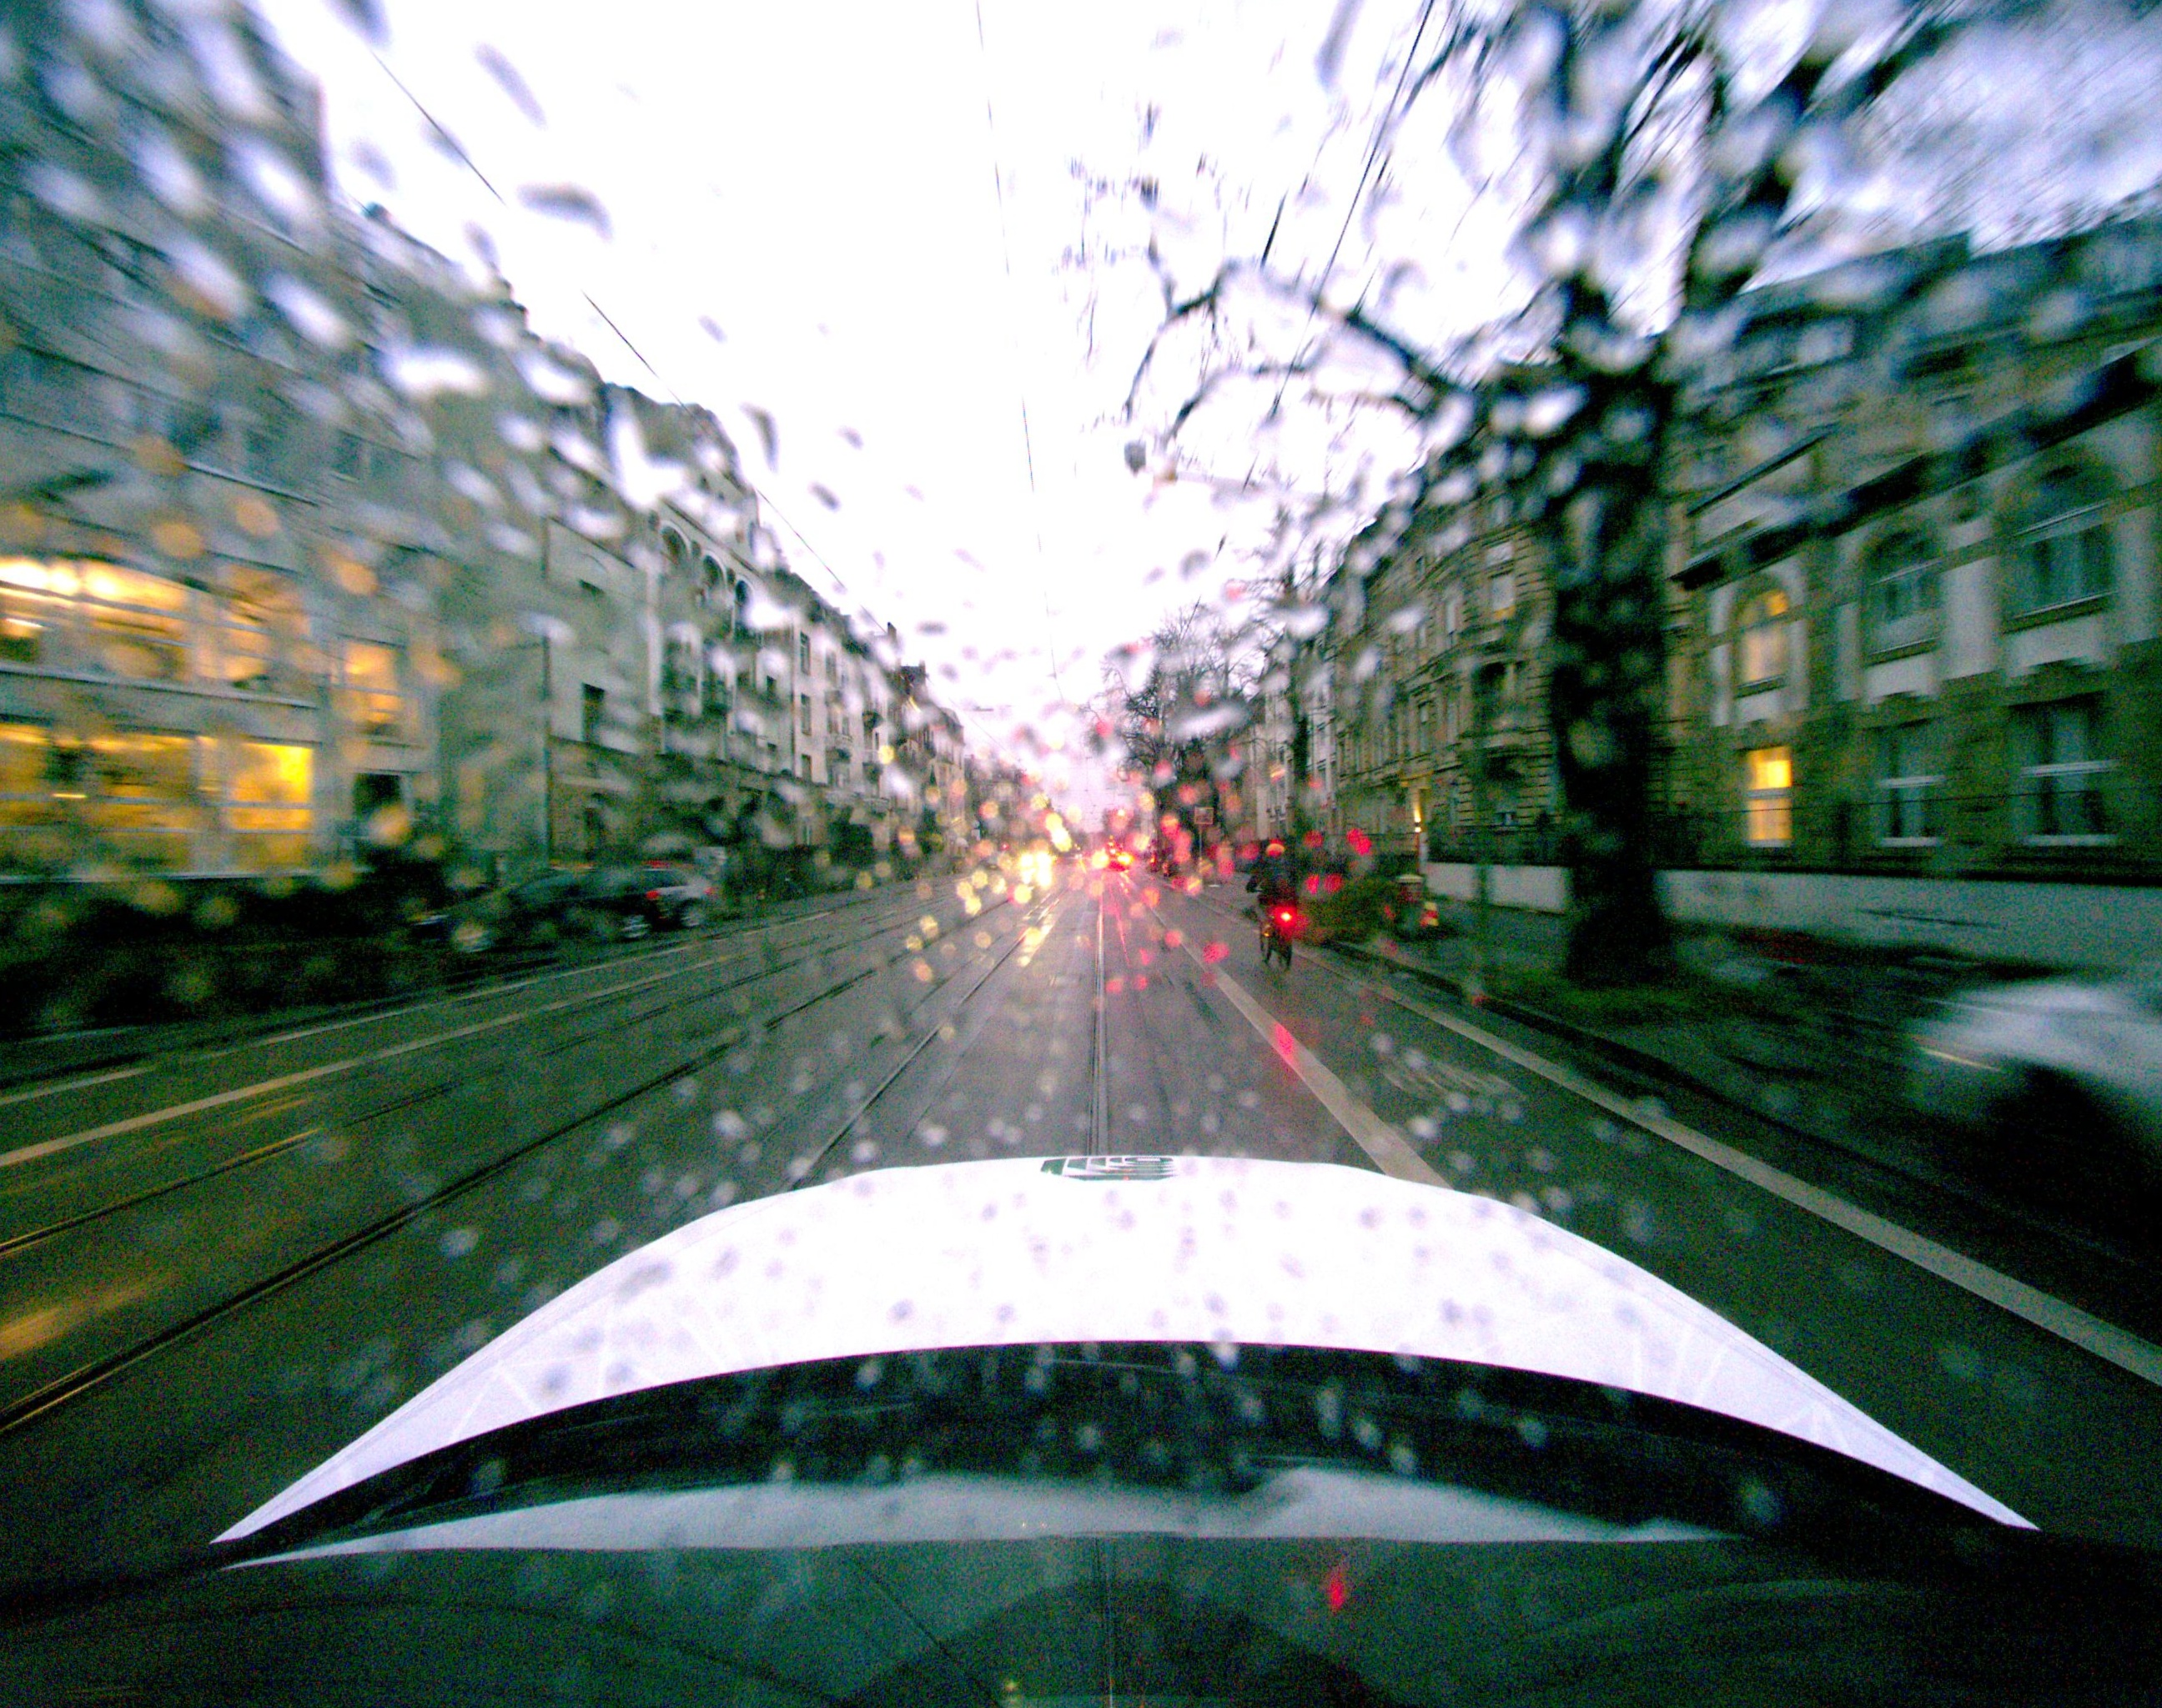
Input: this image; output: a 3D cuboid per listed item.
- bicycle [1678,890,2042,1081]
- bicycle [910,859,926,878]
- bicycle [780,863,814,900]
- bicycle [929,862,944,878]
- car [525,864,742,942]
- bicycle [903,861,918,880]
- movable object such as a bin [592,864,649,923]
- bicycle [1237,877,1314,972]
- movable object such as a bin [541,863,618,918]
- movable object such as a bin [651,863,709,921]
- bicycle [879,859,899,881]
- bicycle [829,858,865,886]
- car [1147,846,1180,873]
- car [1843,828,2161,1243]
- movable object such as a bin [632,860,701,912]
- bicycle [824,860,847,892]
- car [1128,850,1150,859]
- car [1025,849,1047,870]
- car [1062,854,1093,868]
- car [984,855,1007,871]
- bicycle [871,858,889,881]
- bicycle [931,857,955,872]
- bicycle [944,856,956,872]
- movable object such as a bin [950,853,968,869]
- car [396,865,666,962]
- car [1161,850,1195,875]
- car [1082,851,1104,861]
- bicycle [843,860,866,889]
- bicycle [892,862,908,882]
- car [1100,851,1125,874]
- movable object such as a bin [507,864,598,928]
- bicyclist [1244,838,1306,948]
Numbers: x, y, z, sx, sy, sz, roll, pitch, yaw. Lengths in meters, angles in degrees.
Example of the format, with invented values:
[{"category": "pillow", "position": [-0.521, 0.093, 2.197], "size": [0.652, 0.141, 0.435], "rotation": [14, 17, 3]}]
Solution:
[{"category": "bicycle", "position": [4.981, 0.818, 5.289], "size": [1.707, 1.071, 0.663], "rotation": [-2, 1, 1]}, {"category": "bicycle", "position": [-9.701, 0.851, 48.541], "size": [0.485, 1.099, 1.930], "rotation": [-2, 0, 0]}, {"category": "bicycle", "position": [-9.985, 0.949, 28.726], "size": [0.691, 1.212, 1.594], "rotation": [-2, 1, -4]}, {"category": "bicycle", "position": [-9.492, 1.046, 53.596], "size": [0.623, 1.017, 1.805], "rotation": [-2, 1, 0]}, {"category": "car", "position": [-10.207, 1.023, 18.736], "size": [4.022, 1.428, 1.826], "rotation": [-3, 1, -42]}, {"category": "bicycle", "position": [-9.707, 0.947, 46.398], "size": [0.692, 1.031, 1.592], "rotation": [-2, 0, -8]}, {"category": "movable object such as a bin", "position": [-12.148, 1.008, 21.538], "size": [1.093, 1.450, 1.104], "rotation": [-2, 1, -20]}, {"category": "bicycle", "position": [2.666, 0.930, 11.383], "size": [0.704, 1.096, 2.032], "rotation": [-2, 1, 4]}, {"category": "movable object such as a bin", "position": [-14.239, 1.012, 23.159], "size": [1.256, 1.450, 1.329], "rotation": [-2, 1, 8]}, {"category": "movable object such as a bin", "position": [-10.800, 1.003, 21.987], "size": [1.268, 1.450, 1.104], "rotation": [-2, 1, -21]}, {"category": "bicycle", "position": [-9.887, 0.854, 41.999], "size": [0.691, 1.031, 1.594], "rotation": [-2, -3, -4]}, {"category": "bicycle", "position": [-11.355, 0.887, 39.591], "size": [1.582, 1.264, 0.490], "rotation": [-2, -5, 4]}, {"category": "car", "position": [6.309, 0.391, 62.614], "size": [1.987, 1.900, 5.027], "rotation": [-2, 1, 0]}, {"category": "car", "position": [4.866, 0.677, 2.481], "size": [1.686, 1.519, 3.637], "rotation": [-2, 1, 0]}, {"category": "movable object such as a bin", "position": [-12.397, 0.931, 24.417], "size": [1.256, 1.450, 1.329], "rotation": [-2, 1, 8]}, {"category": "bicycle", "position": [-9.974, 0.874, 33.134], "size": [0.629, 1.212, 1.592], "rotation": [-2, 1, -8]}, {"category": "car", "position": [11.279, 0.086, 157.328], "size": [3.963, 1.716, 1.909], "rotation": [-2, 1, 9]}, {"category": "car", "position": [-4.333, 0.487, 79.101], "size": [2.041, 1.922, 5.096], "rotation": [-2, 1, -2]}, {"category": "car", "position": [-0.510, 0.960, 108.172], "size": [3.971, 1.727, 1.741], "rotation": [-2, 1, 2]}, {"category": "car", "position": [-9.027, 0.943, 85.965], "size": [1.827, 1.447, 4.002], "rotation": [-2, 1, 1]}, {"category": "bicycle", "position": [-9.894, 0.787, 40.110], "size": [0.692, 1.031, 1.590], "rotation": [-2, -3, -8]}, {"category": "bicycle", "position": [-10.983, 0.826, 64.800], "size": [1.802, 1.080, 0.615], "rotation": [-2, 1, -6]}, {"category": "bicycle", "position": [-9.416, 0.726, 58.582], "size": [0.613, 1.080, 1.809], "rotation": [-2, 1, -3]}, {"category": "movable object such as a bin", "position": [-12.040, 0.708, 80.396], "size": [1.404, 1.530, 1.365], "rotation": [-2, 1, 1]}, {"category": "car", "position": [-10.442, 1.028, 15.646], "size": [4.023, 1.470, 1.809], "rotation": [-2, 1, -44]}, {"category": "car", "position": [6.054, 0.516, 51.104], "size": [1.672, 1.460, 4.043], "rotation": [-2, 0, 0]}, {"category": "car", "position": [2.262, 0.373, 157.971], "size": [3.963, 1.716, 1.909], "rotation": [-2, 1, 9]}, {"category": "bicycle", "position": [-10.017, 0.892, 36.049], "size": [0.692, 1.212, 1.592], "rotation": [-2, 1, -8]}, {"category": "bicycle", "position": [-9.771, 0.953, 43.925], "size": [0.692, 1.031, 1.592], "rotation": [-2, -1, -8]}, {"category": "car", "position": [2.677, 0.736, 70.467], "size": [1.987, 1.897, 4.758], "rotation": [0, -1, 0]}, {"category": "movable object such as a bin", "position": [-13.027, 1.019, 20.122], "size": [1.256, 1.450, 1.329], "rotation": [-2, 1, 8]}, {"category": "bicyclist", "position": [2.657, 0.514, 11.239], "size": [0.653, 1.446, 0.850], "rotation": [-2, 1, 3]}]
